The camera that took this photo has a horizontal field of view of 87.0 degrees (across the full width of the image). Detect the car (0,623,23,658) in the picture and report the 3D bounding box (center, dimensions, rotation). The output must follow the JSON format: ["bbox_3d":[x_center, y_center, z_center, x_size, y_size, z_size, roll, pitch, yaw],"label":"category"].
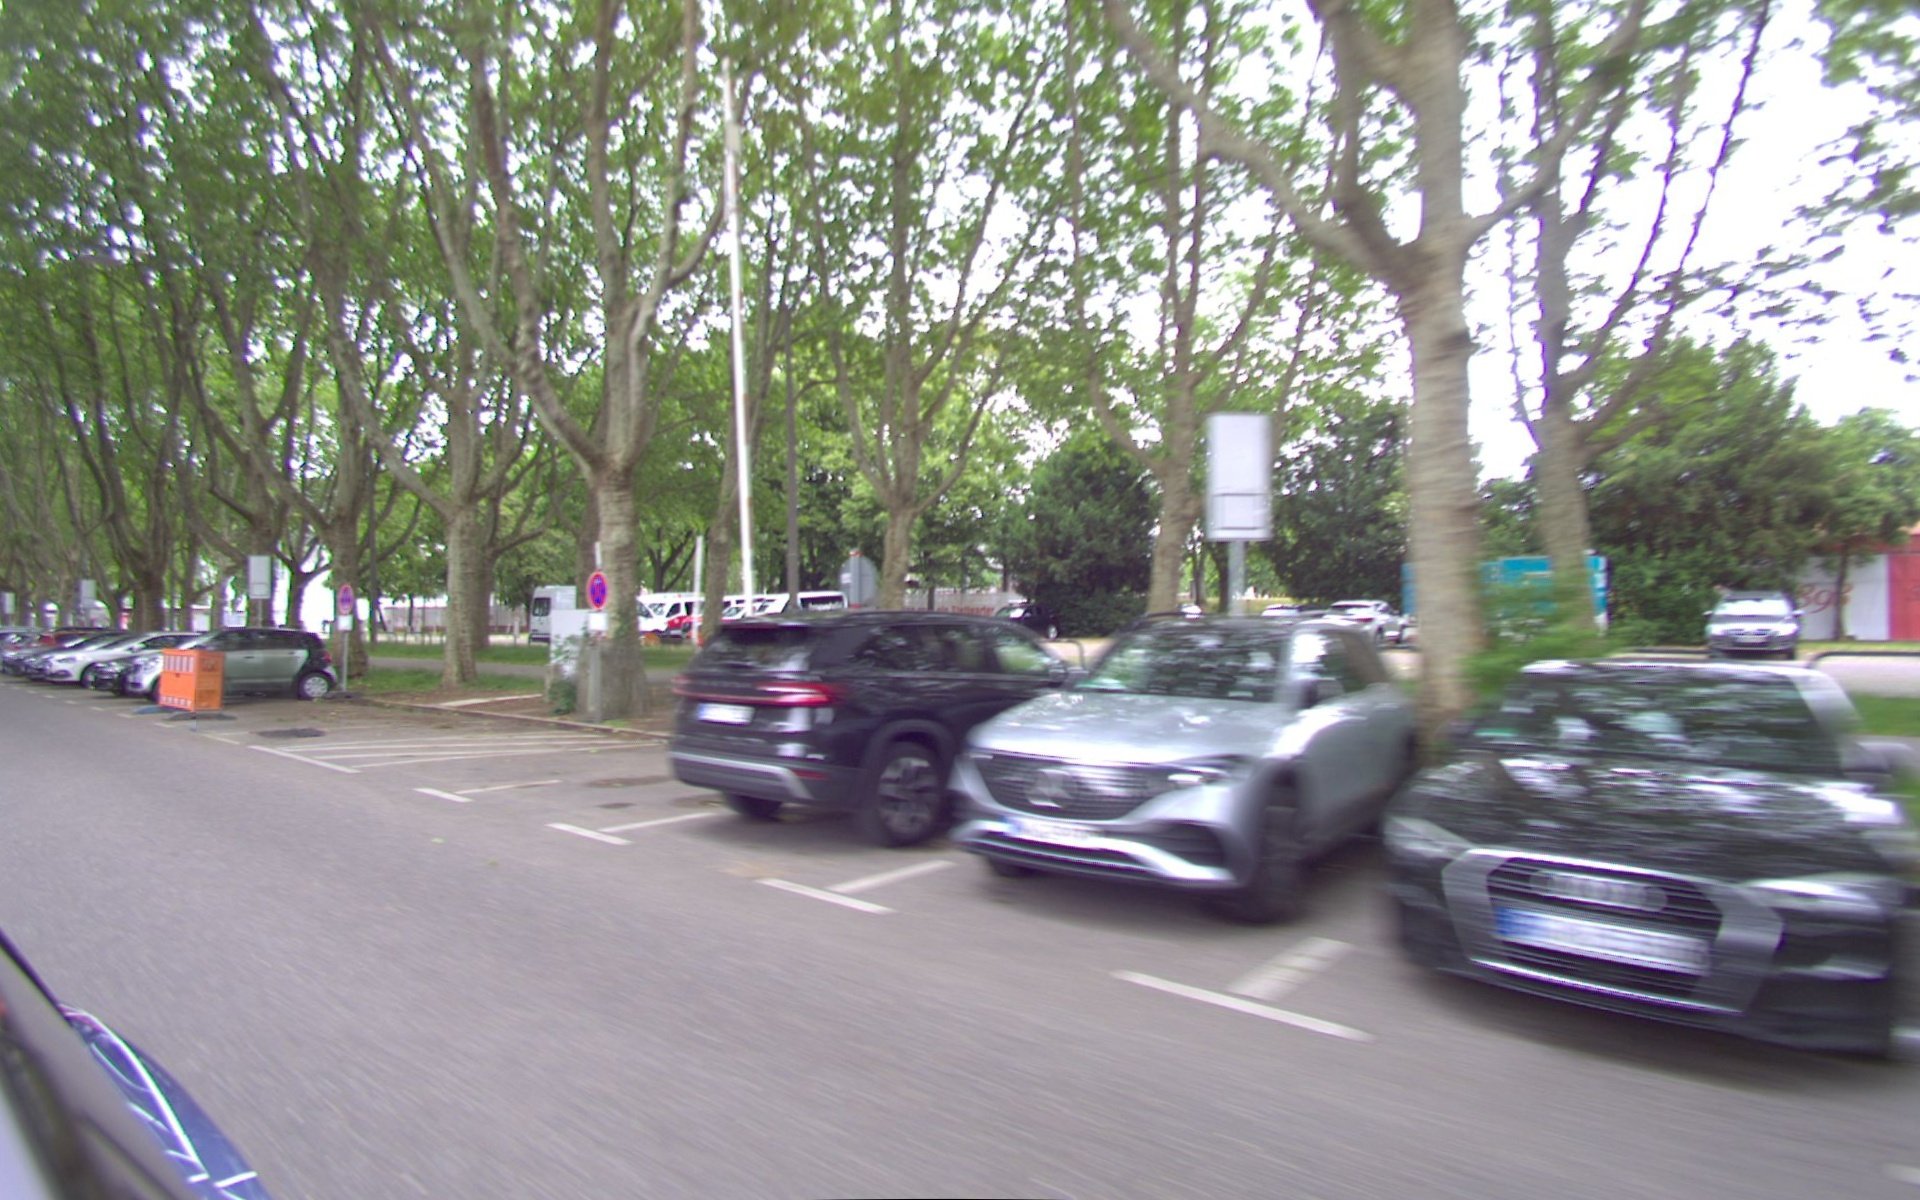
[{"bbox_3d":[-51.236,2.170,51.974,2.001,1.764,4.431,-1,1,45],"label":"car"}]

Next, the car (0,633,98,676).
[{"bbox_3d":[-34.391,1.992,37.113,1.799,1.539,3.986,-3,-4,42],"label":"car"}]

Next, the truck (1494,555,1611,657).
[{"bbox_3d":[17.364,0.165,29.585,2.374,2.737,3.948,-1,0,39],"label":"truck"}]

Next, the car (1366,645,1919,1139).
[{"bbox_3d":[3.672,0.932,4.993,2.044,1.406,4.367,-2,-3,37],"label":"car"}]

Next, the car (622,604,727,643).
[{"bbox_3d":[-16.117,1.292,57.333,2.390,2.036,5.400,-1,0,38],"label":"car"}]

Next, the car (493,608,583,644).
[{"bbox_3d":[-27.646,1.674,66.457,1.997,2.159,5.202,-1,0,38],"label":"car"}]

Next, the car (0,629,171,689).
[{"bbox_3d":[-25.119,1.653,28.887,1.847,1.581,3.797,-2,-3,42],"label":"car"}]

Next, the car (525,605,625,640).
[{"bbox_3d":[-24.090,1.390,63.525,2.390,2.036,5.400,-1,0,38],"label":"car"}]

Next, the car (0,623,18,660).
[{"bbox_3d":[-48.992,2.140,49.285,2.001,1.764,4.431,-1,1,45],"label":"car"}]

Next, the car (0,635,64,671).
[{"bbox_3d":[-38.577,2.123,40.424,1.999,1.442,3.944,-3,-4,42],"label":"car"}]

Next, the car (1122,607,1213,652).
[{"bbox_3d":[7.630,1.022,37.032,1.797,1.498,3.951,-1,0,36],"label":"car"}]

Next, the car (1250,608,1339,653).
[{"bbox_3d":[11.291,0.988,34.058,1.726,1.387,3.967,-1,0,36],"label":"car"}]

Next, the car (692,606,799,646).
[{"bbox_3d":[-11.002,1.289,52.198,1.997,1.864,5.400,-1,0,38],"label":"car"}]

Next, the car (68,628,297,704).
[{"bbox_3d":[-17.300,1.445,22.656,1.675,1.550,3.797,-2,-3,42],"label":"car"}]

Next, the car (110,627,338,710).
[{"bbox_3d":[-15.323,1.390,21.186,1.847,1.590,3.518,-2,-3,42],"label":"car"}]

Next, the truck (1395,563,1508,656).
[{"bbox_3d":[14.959,0.256,30.721,2.121,2.628,3.946,-1,0,41],"label":"truck"}]

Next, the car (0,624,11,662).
[{"bbox_3d":[-47.597,2.144,47.423,2.001,1.764,4.431,-1,1,45],"label":"car"}]

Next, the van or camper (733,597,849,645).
[{"bbox_3d":[-8.447,1.022,51.194,2.327,2.272,5.647,-1,0,40],"label":"van or camper"}]

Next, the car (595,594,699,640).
[{"bbox_3d":[-18.193,0.966,59.055,2.390,2.535,5.400,-1,0,38],"label":"car"}]

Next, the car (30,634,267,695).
[{"bbox_3d":[-21.044,1.636,26.385,2.090,1.445,4.515,-2,-3,42],"label":"car"}]

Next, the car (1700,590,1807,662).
[{"bbox_3d":[20.193,0.606,25.682,1.989,1.674,3.946,-1,0,40],"label":"car"}]

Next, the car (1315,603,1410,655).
[{"bbox_3d":[12.886,0.881,32.275,1.731,1.519,3.948,-1,0,38],"label":"car"}]

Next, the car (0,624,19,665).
[{"bbox_3d":[-44.682,2.078,44.733,2.001,1.764,4.431,-1,1,45],"label":"car"}]

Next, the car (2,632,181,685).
[{"bbox_3d":[-26.690,1.772,31.176,1.873,1.525,3.944,-2,-3,42],"label":"car"}]

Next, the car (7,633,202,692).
[{"bbox_3d":[-23.096,1.650,27.410,1.847,1.486,3.797,-2,-3,42],"label":"car"}]

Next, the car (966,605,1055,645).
[{"bbox_3d":[2.109,0.995,41.638,1.797,1.498,3.951,-1,0,36],"label":"car"}]

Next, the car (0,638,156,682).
[{"bbox_3d":[-28.485,1.911,32.465,1.999,1.320,3.944,-3,-4,42],"label":"car"}]

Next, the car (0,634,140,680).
[{"bbox_3d":[-30.566,1.926,34.354,1.999,1.482,3.944,-3,-4,42],"label":"car"}]

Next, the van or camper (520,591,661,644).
[{"bbox_3d":[-15.554,0.691,42.836,2.241,2.115,5.235,-1,0,38],"label":"van or camper"}]

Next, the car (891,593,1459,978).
[{"bbox_3d":[1.733,0.883,6.703,2.044,1.639,4.367,-2,-3,37],"label":"car"}]

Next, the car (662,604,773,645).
[{"bbox_3d":[-12.833,1.240,53.925,2.472,2.013,5.400,-1,0,38],"label":"car"}]

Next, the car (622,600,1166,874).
[{"bbox_3d":[-0.287,0.914,8.418,2.046,1.639,4.361,-2,-3,41],"label":"car"}]

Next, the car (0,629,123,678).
[{"bbox_3d":[-32.478,1.901,35.934,1.999,1.641,3.975,-3,-4,42],"label":"car"}]
